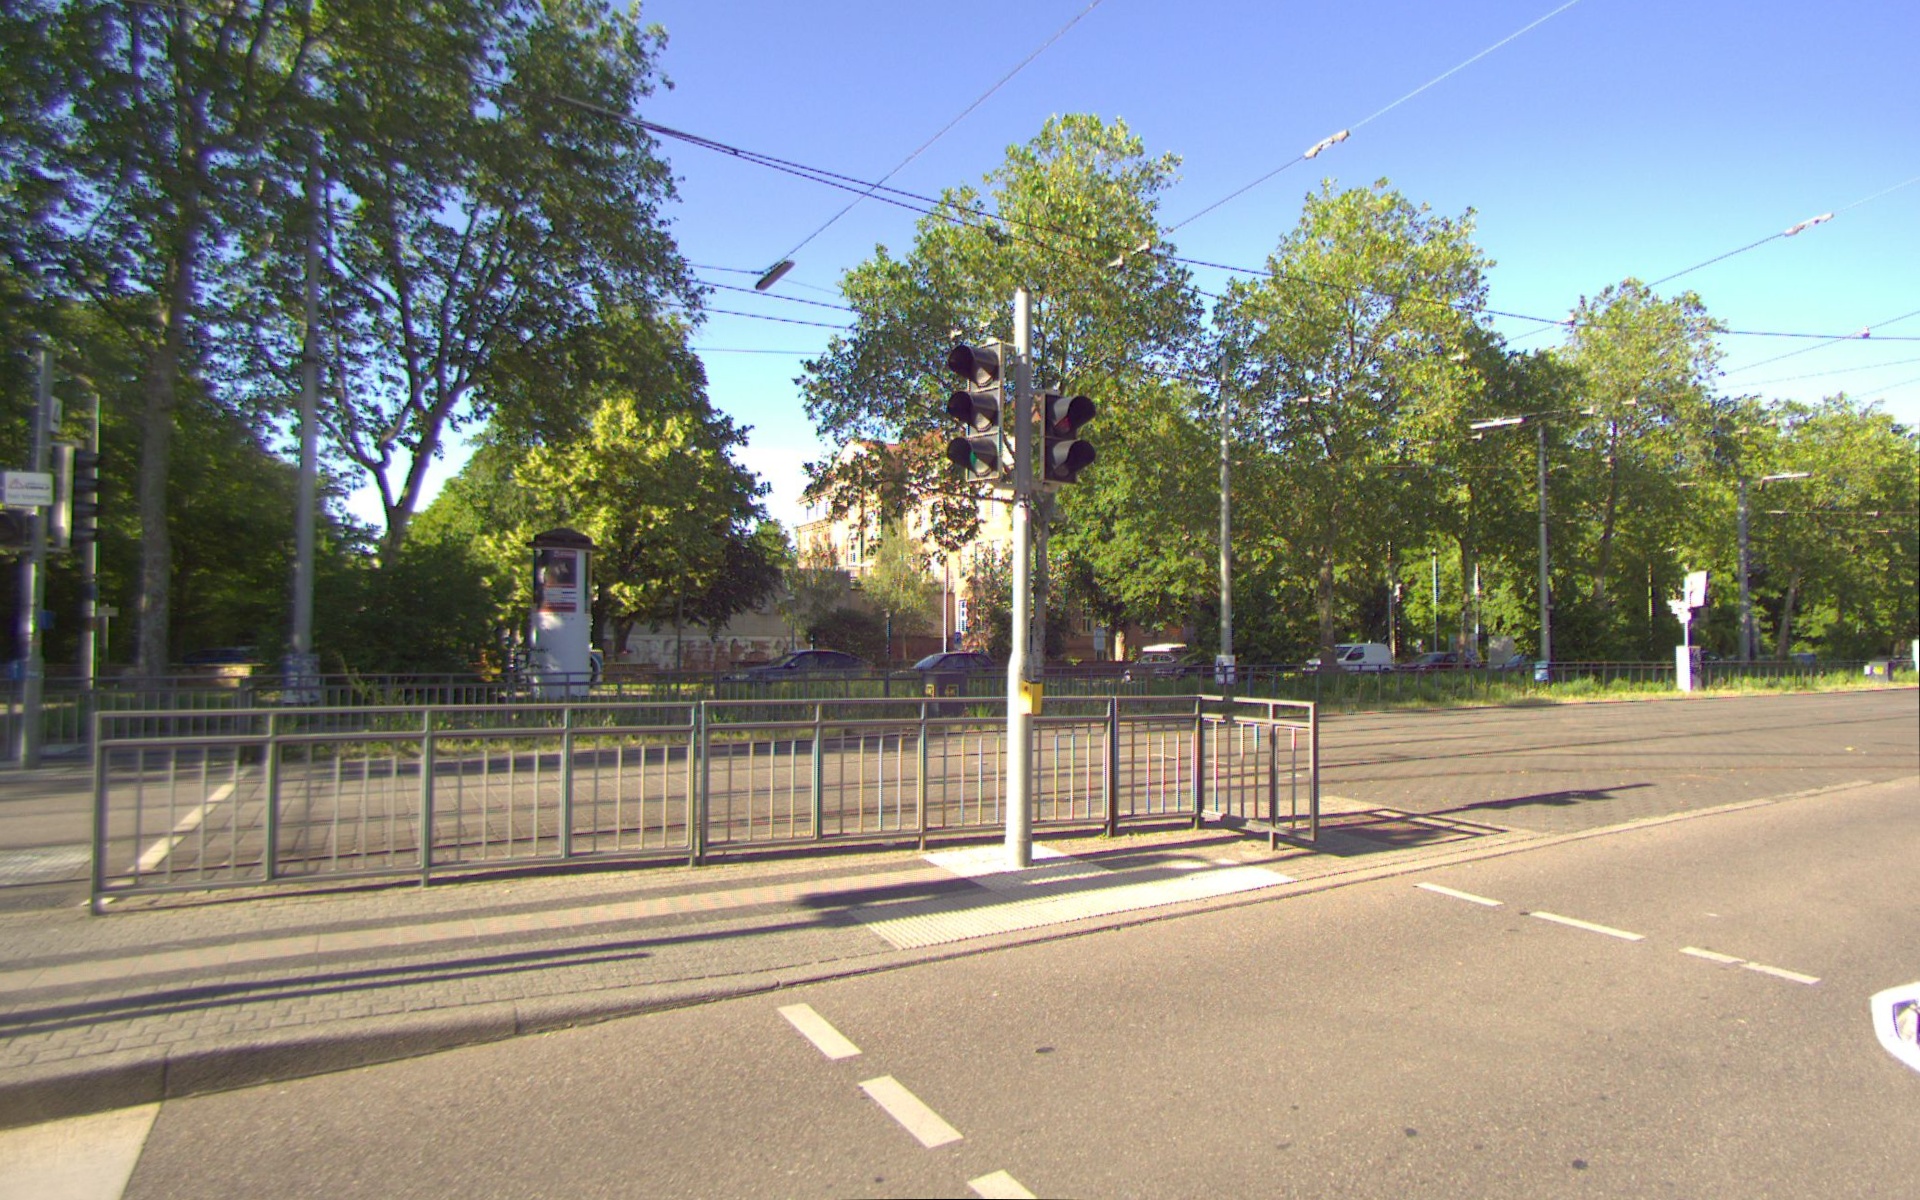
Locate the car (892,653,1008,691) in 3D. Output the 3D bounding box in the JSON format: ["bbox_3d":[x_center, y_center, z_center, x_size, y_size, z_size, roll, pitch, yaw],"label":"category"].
[{"bbox_3d":[-0.309,2.302,32.510,3.533,1.155,1.498,2,-2,-32],"label":"car"}]

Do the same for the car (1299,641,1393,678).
[{"bbox_3d":[16.664,2.548,43.328,4.099,1.529,1.660,2,-2,-32],"label":"car"}]

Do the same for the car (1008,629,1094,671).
[{"bbox_3d":[4.597,2.484,50.582,3.953,2.040,1.984,2,-2,-30],"label":"car"}]

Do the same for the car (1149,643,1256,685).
[{"bbox_3d":[9.362,2.437,38.678,4.099,1.529,1.661,2,-2,-32],"label":"car"}]

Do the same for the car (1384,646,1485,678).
[{"bbox_3d":[21.932,2.881,46.373,4.796,1.366,1.926,3,-3,-32],"label":"car"}]

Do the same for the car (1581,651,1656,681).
[{"bbox_3d":[37.029,3.716,56.475,4.231,1.529,1.926,3,-3,-32],"label":"car"}]

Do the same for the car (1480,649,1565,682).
[{"bbox_3d":[28.240,3.269,50.374,4.231,1.529,1.926,3,-3,-32],"label":"car"}]

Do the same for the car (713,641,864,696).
[{"bbox_3d":[-5.032,1.976,29.611,4.099,1.529,1.661,2,-2,-32],"label":"car"}]

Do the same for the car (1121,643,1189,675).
[{"bbox_3d":[10.024,3.027,51.941,1.375,1.514,3.975,1,-2,-26],"label":"car"}]
